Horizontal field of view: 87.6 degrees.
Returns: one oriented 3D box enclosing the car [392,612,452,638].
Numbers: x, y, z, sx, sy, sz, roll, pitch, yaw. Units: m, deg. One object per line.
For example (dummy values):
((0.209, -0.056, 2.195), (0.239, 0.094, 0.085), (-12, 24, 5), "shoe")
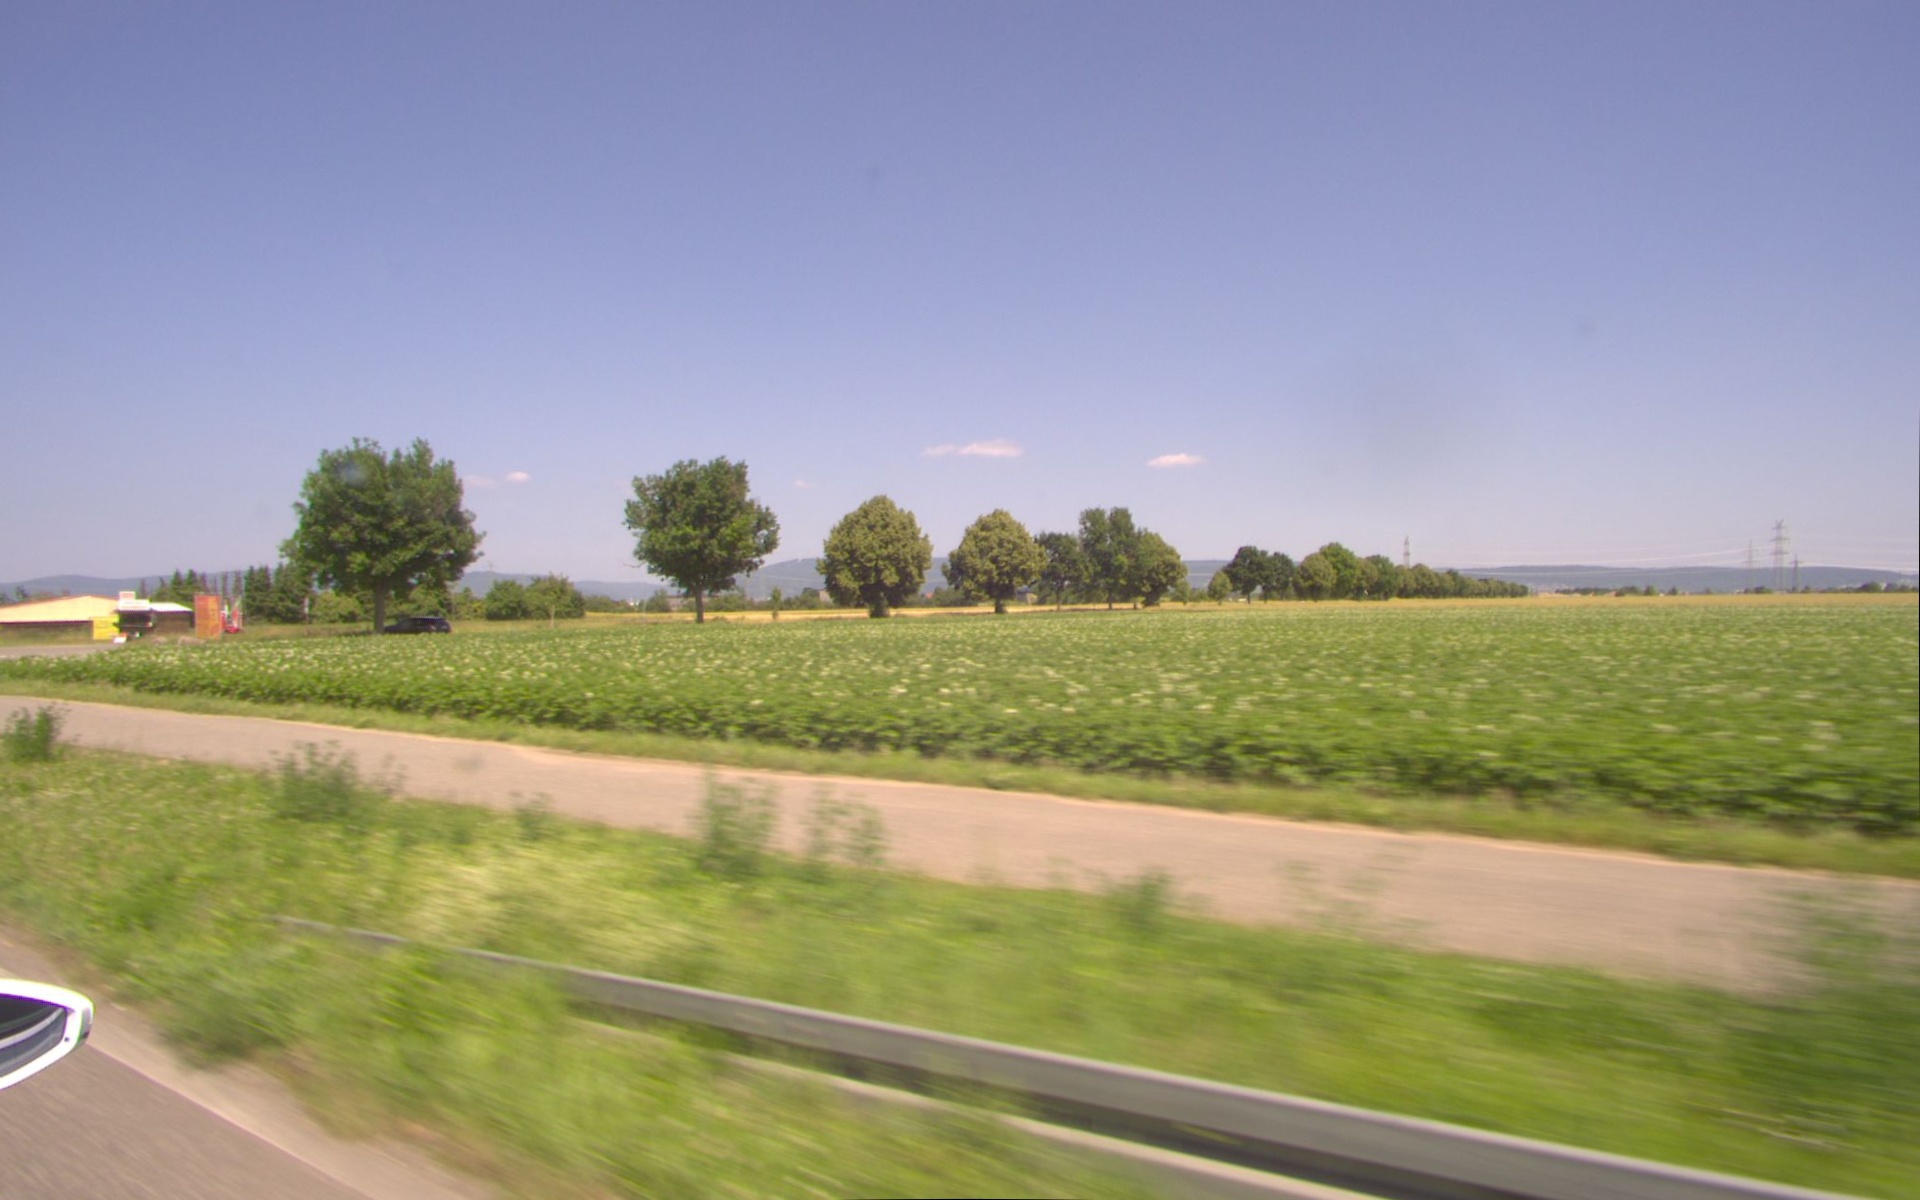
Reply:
((-33.753, 1.559, 62.824), (3.829, 1.547, 1.752), (-1, 0, 34), "car")
